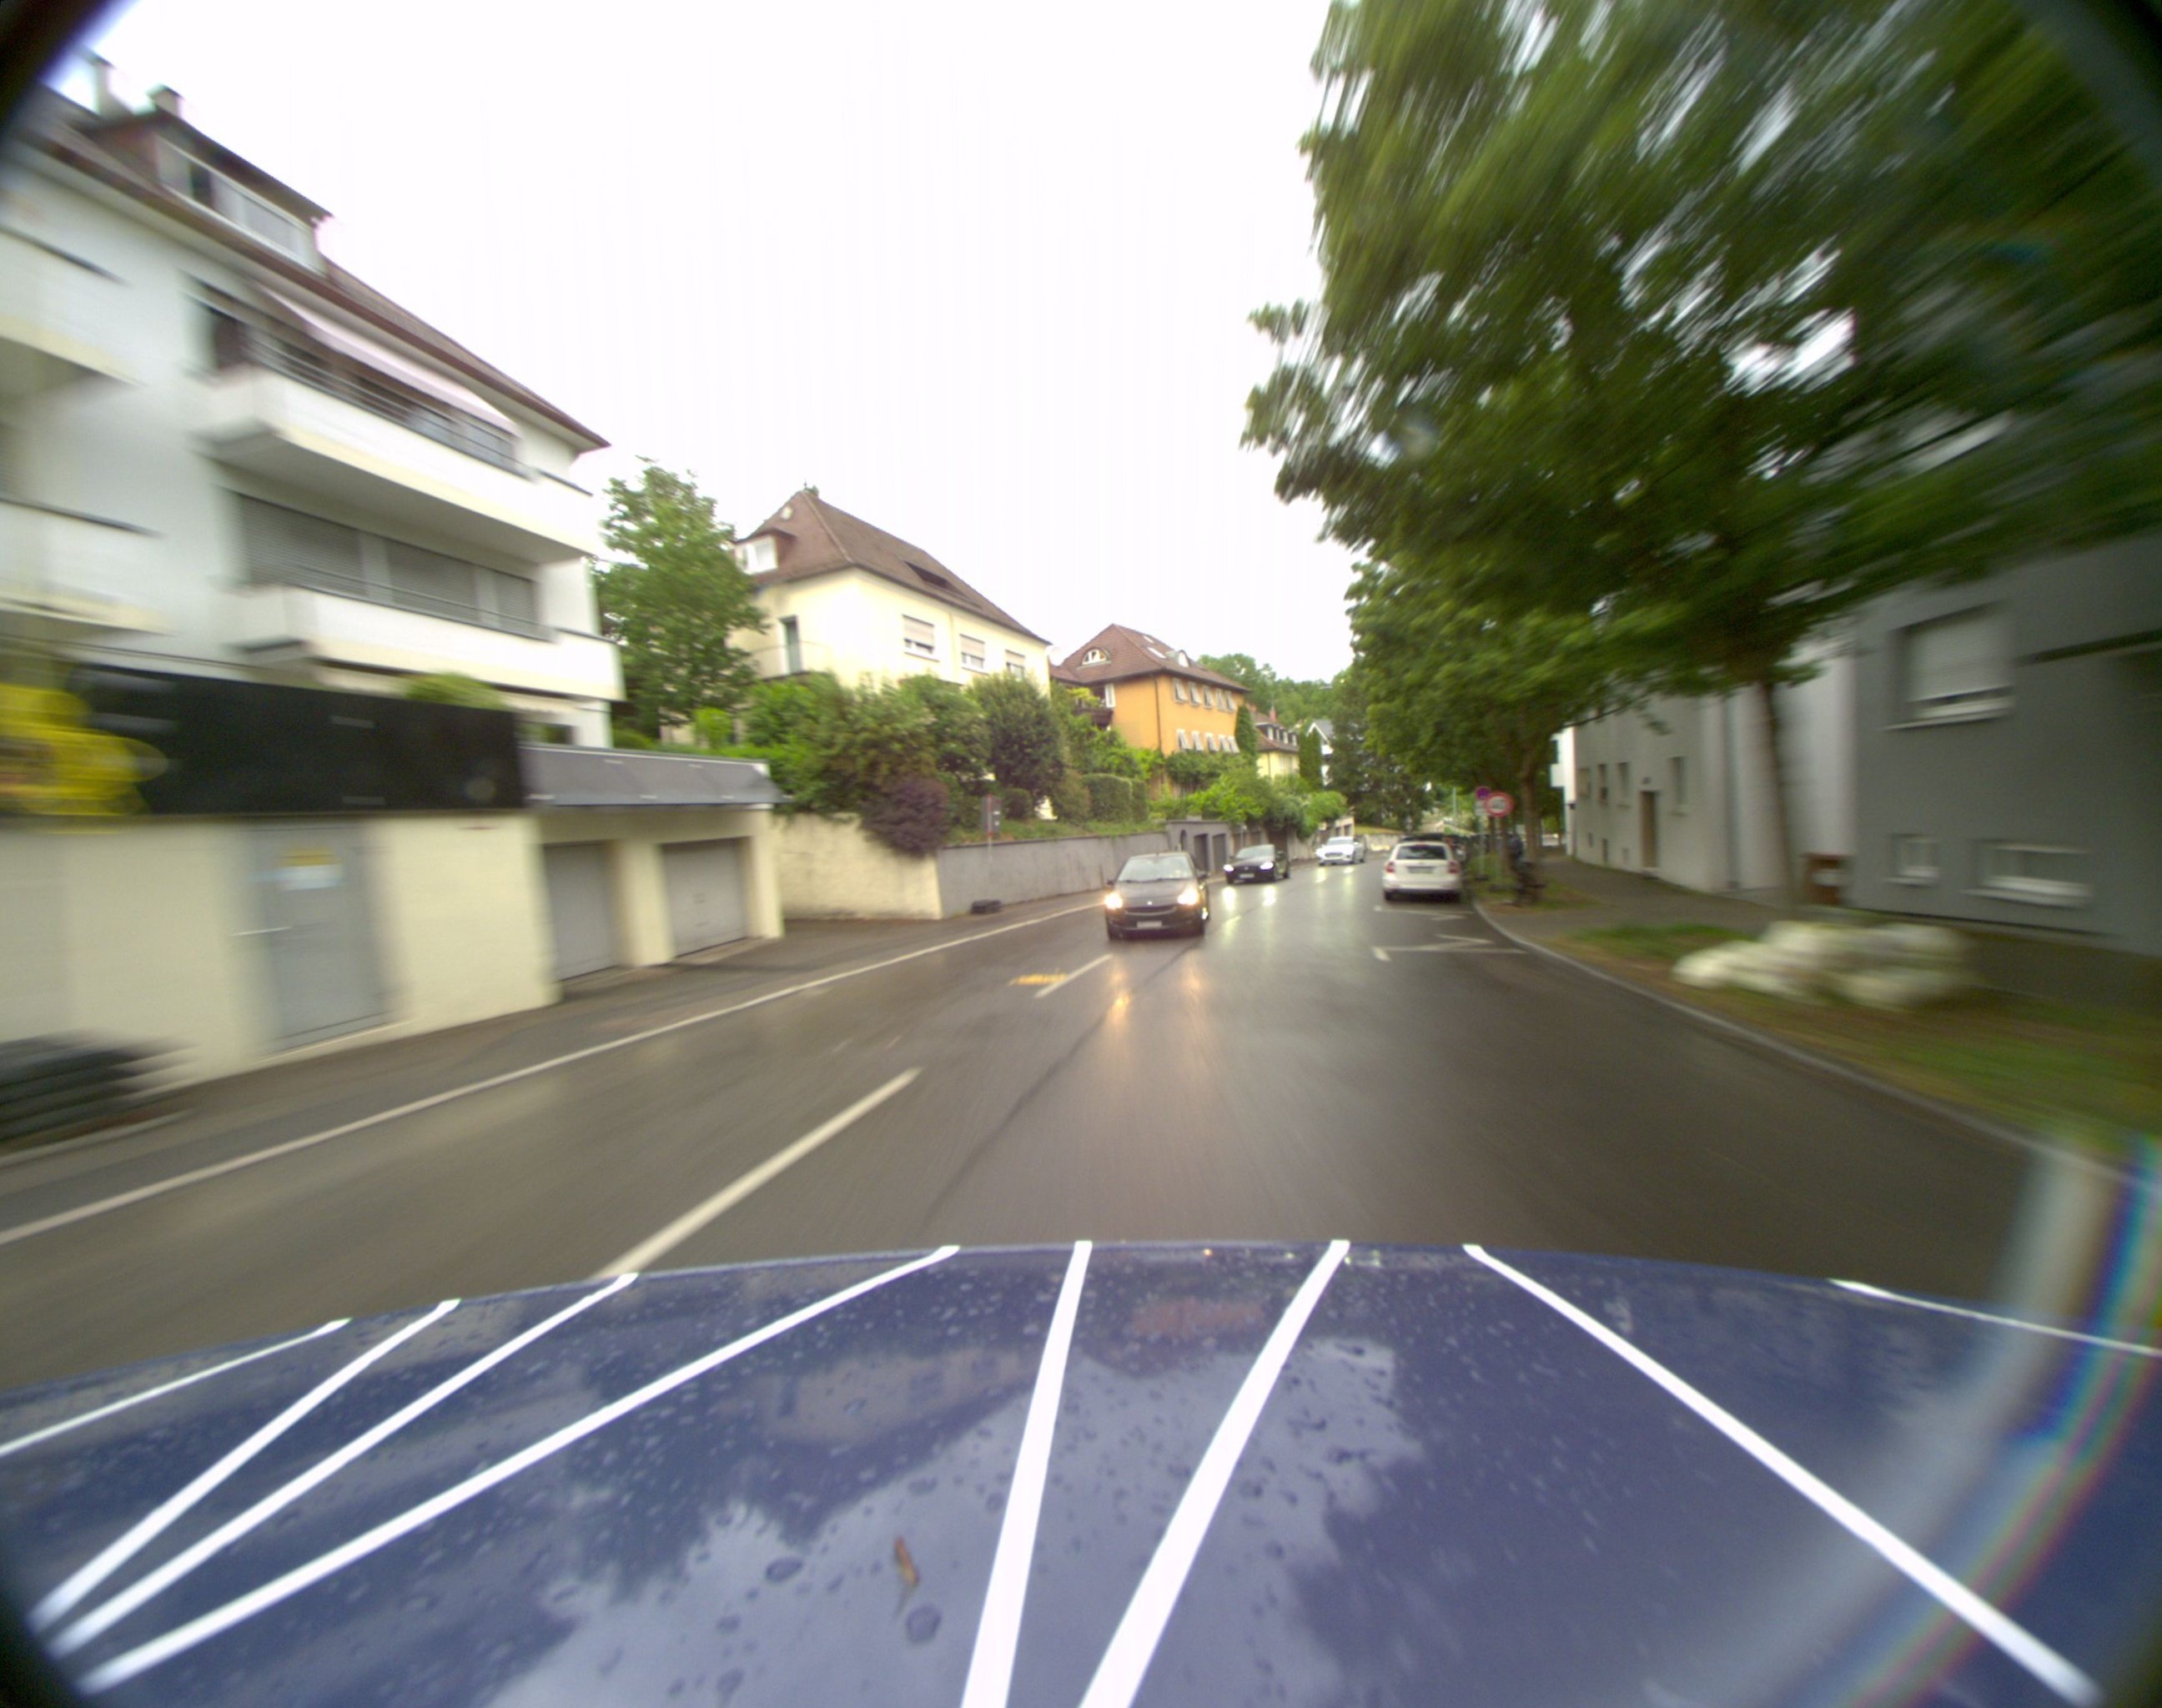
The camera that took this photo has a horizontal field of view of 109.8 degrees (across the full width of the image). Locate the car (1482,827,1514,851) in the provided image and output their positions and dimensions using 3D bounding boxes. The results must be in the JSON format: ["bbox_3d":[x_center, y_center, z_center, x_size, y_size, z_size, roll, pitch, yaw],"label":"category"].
[{"bbox_3d":[32.239,-1.193,58.712,1.592,1.650,3.930,4,5,36],"label":"car"}]

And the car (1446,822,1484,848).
[{"bbox_3d":[22.840,-1.163,45.115,1.574,1.480,3.476,2,3,34],"label":"car"}]

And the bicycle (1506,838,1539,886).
[{"bbox_3d":[12.329,0.195,21.203,0.619,1.244,1.909,-2,1,35],"label":"bicycle"}]

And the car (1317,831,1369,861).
[{"bbox_3d":[15.324,-0.497,44.317,2.008,1.652,4.453,-1,2,31],"label":"car"}]

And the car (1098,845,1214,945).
[{"bbox_3d":[1.501,0.658,13.962,1.576,1.444,3.589,-3,2,14],"label":"car"}]

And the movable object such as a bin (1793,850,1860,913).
[{"bbox_3d":[11.936,0.433,12.188,0.656,0.945,0.645,-2,1,35],"label":"movable object such as a bin"}]

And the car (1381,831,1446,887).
[{"bbox_3d":[10.582,0.098,24.037,1.683,1.599,4.583,-1,1,25],"label":"car"}]

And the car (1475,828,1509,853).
[{"bbox_3d":[29.380,-0.998,54.244,1.618,1.650,3.930,3,4,35],"label":"car"}]

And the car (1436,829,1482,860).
[{"bbox_3d":[20.477,-0.545,41.062,1.664,1.480,4.482,2,4,33],"label":"car"}]

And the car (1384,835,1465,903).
[{"bbox_3d":[8.800,0.298,19.439,1.683,1.500,4.322,-1,1,25],"label":"car"}]

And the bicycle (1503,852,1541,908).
[{"bbox_3d":[9.248,0.521,15.899,0.435,1.024,1.909,-2,1,37],"label":"bicycle"}]

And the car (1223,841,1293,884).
[{"bbox_3d":[6.907,0.317,29.308,1.804,1.479,4.024,-3,-1,25],"label":"car"}]

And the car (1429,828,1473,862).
[{"bbox_3d":[17.924,-0.465,36.772,1.556,1.502,3.389,1,3,32],"label":"car"}]
